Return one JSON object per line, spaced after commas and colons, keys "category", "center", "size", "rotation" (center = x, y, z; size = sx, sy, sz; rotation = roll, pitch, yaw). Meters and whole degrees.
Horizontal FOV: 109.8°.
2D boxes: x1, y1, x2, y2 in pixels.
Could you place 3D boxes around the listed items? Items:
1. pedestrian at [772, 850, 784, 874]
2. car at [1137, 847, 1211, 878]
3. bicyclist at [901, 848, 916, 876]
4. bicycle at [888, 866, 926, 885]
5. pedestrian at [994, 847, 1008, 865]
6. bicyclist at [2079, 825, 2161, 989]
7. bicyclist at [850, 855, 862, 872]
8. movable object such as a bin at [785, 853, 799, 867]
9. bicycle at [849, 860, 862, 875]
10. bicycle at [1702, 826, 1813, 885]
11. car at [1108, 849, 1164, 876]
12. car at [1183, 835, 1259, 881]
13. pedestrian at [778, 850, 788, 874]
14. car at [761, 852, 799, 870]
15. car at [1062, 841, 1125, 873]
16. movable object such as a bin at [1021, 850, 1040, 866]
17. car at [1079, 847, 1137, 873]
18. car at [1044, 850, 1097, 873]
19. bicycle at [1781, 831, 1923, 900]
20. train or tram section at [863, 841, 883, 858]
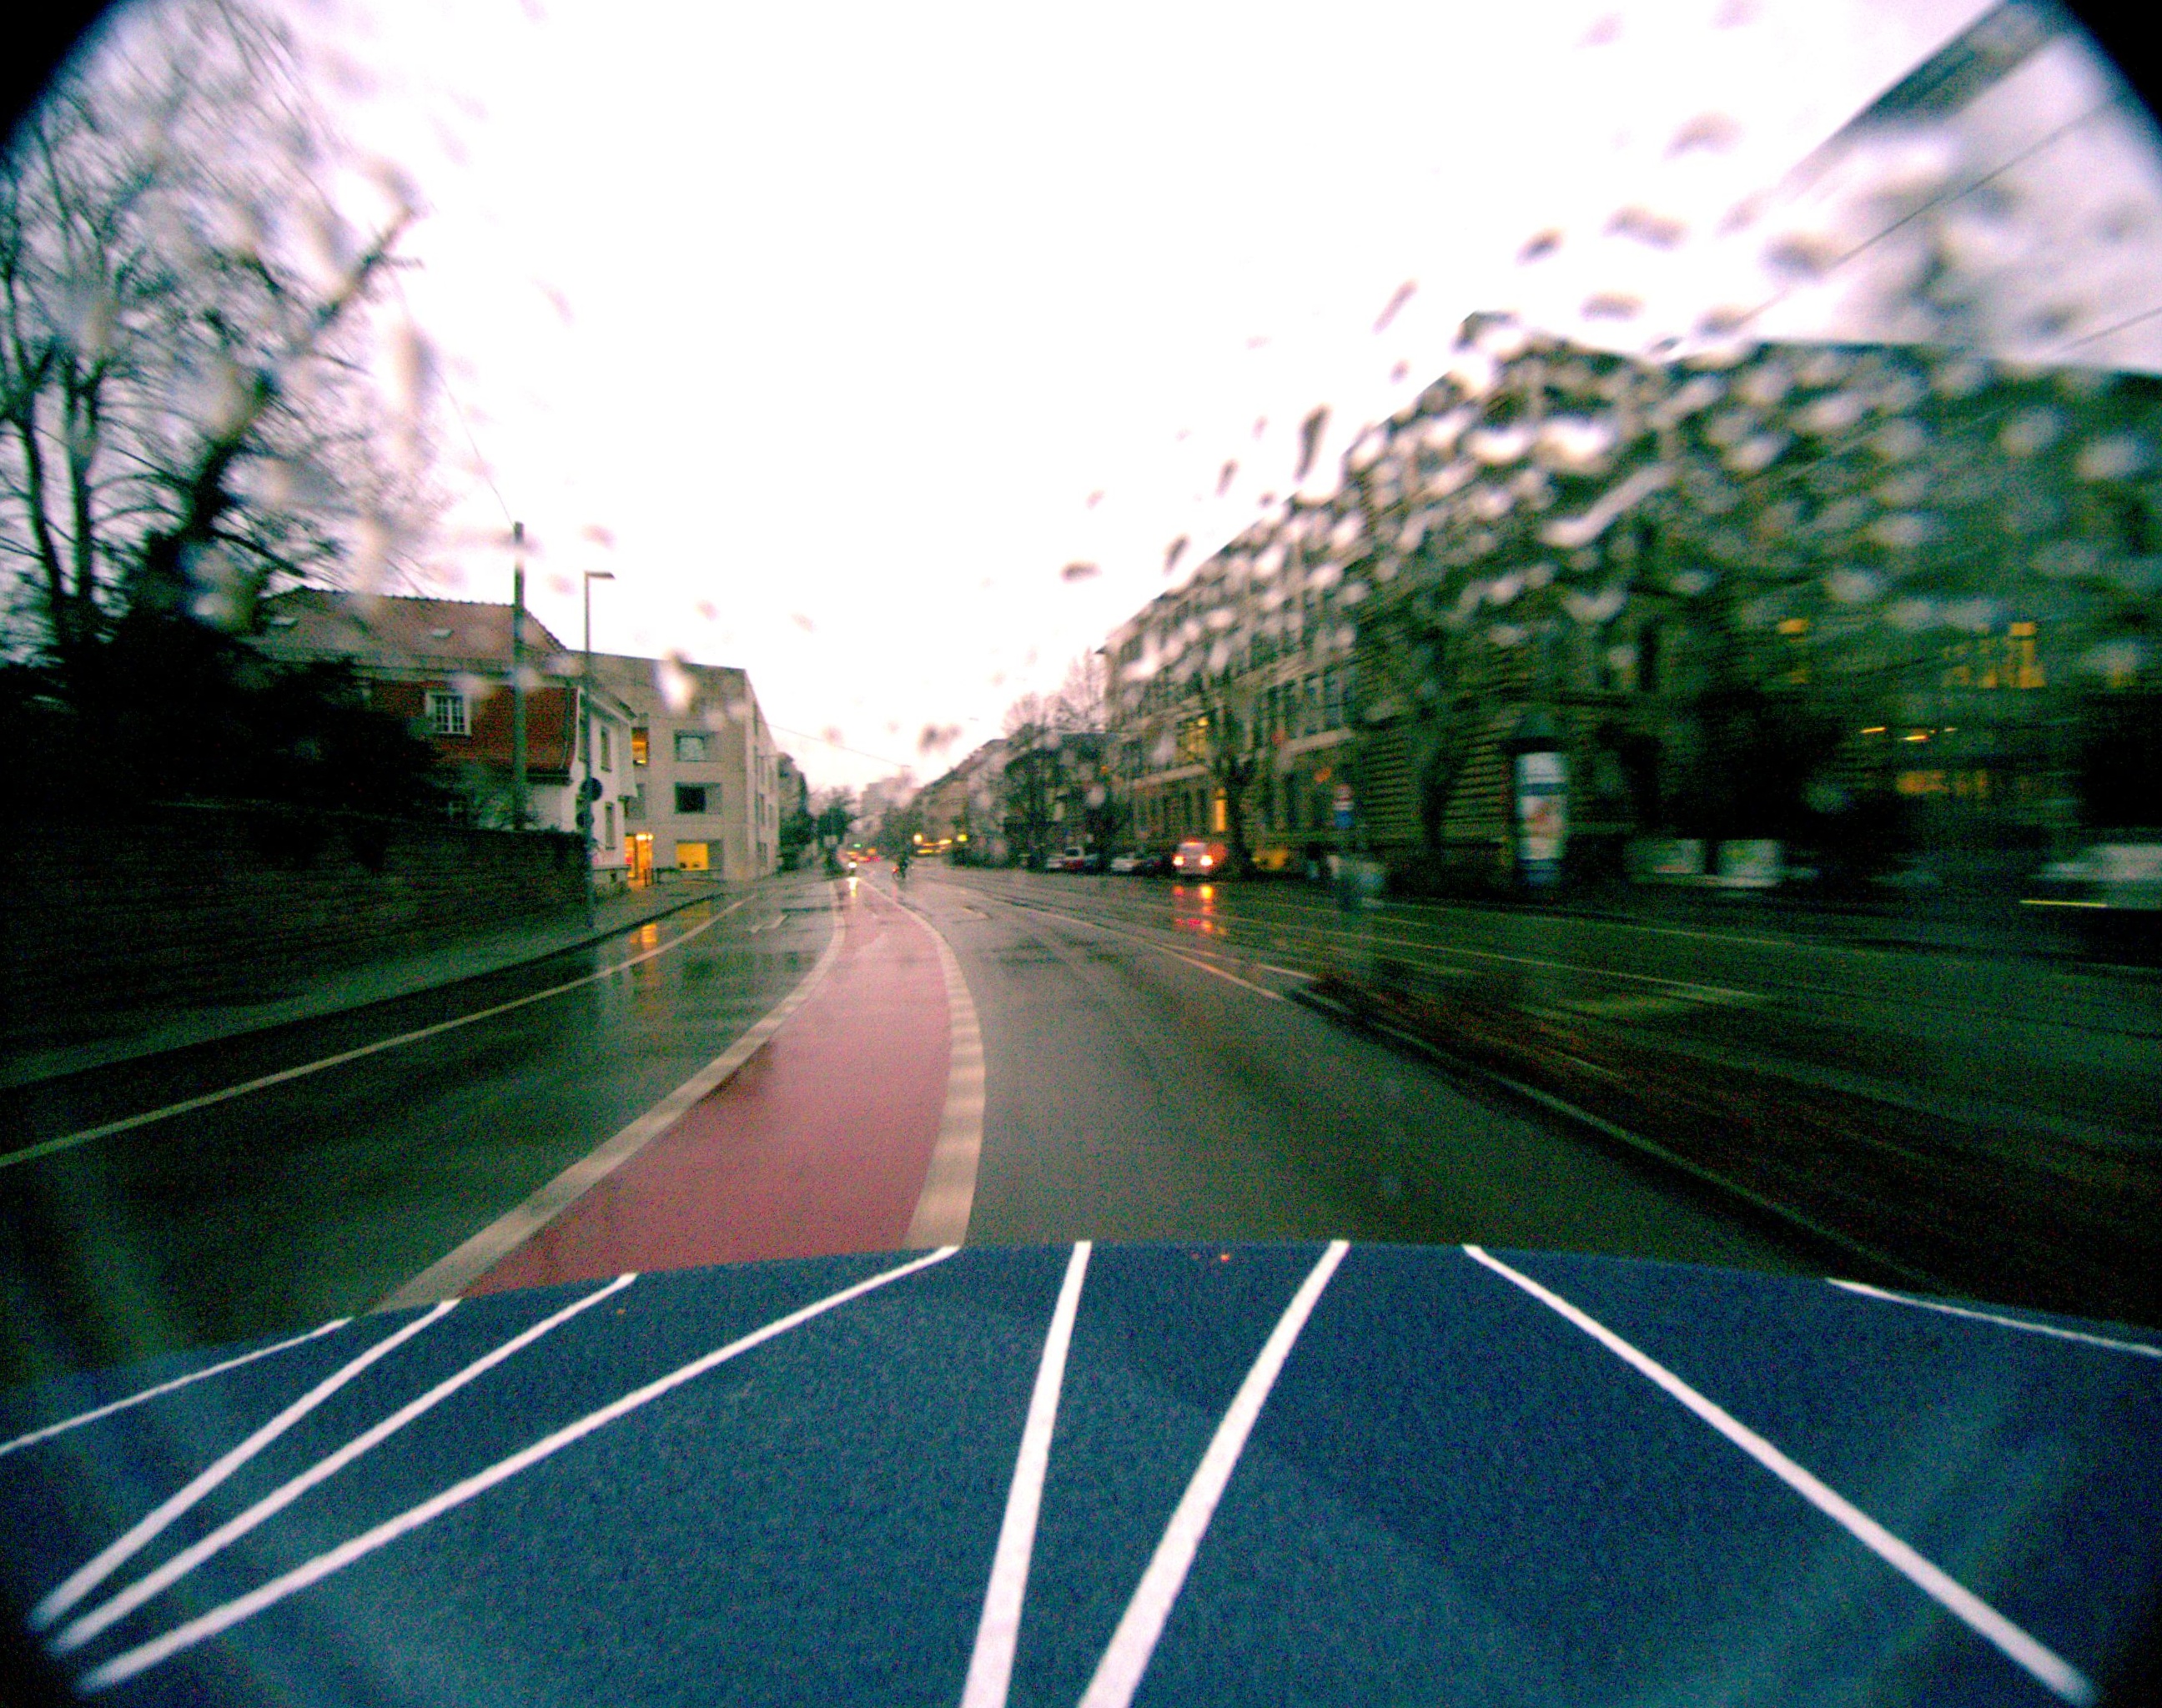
{"category": "pedestrian", "center": [-23.634, 0.634, 59.209], "size": [0.774, 1.848, 0.717], "rotation": [0, 1, -16]}
{"category": "car", "center": [5.414, 0.459, 43.840], "size": [4.485, 1.449, 1.795], "rotation": [-5, 2, -44]}
{"category": "bicyclist", "center": [-10.281, 0.469, 45.200], "size": [0.857, 1.586, 0.779], "rotation": [-1, 1, -14]}
{"category": "bicycle", "center": [-10.392, 1.262, 45.270], "size": [2.123, 0.939, 0.943], "rotation": [-4, 2, -14]}
{"category": "pedestrian", "center": [-8.037, 0.183, 75.981], "size": [0.925, 1.693, 0.945], "rotation": [-5, 3, -41]}
{"category": "bicyclist", "center": [11.832, 0.579, 8.497], "size": [0.610, 1.758, 0.590], "rotation": [-2, 2, 26]}
{"category": "bicyclist", "center": [-17.890, 0.764, 60.433], "size": [0.717, 1.335, 0.718], "rotation": [-3, 2, -11]}
{"category": "movable object such as a bin", "center": [-30.077, 0.651, 79.160], "size": [1.261, 1.437, 1.416], "rotation": [-1, 1, -18]}
{"category": "bicycle", "center": [-17.840, 1.061, 60.274], "size": [0.724, 1.084, 2.283], "rotation": [-3, 0, -11]}
{"category": "bicycle", "center": [20.639, 0.063, 23.244], "size": [2.423, 1.679, 0.714], "rotation": [-2, 2, 33]}
{"category": "car", "center": [3.589, 0.547, 48.641], "size": [1.633, 1.449, 3.833], "rotation": [-2, 2, 38]}
{"category": "car", "center": [7.158, 0.176, 38.408], "size": [1.907, 2.022, 4.812], "rotation": [-2, 2, 35]}
{"category": "pedestrian", "center": [-23.234, 0.606, 59.301], "size": [0.658, 1.849, 0.658], "rotation": [0, 1, -17]}
{"category": "car", "center": [-31.194, 0.677, 78.931], "size": [3.463, 1.638, 1.729], "rotation": [-4, 2, -18]}
{"category": "car", "center": [0.963, 0.196, 56.430], "size": [1.960, 2.042, 4.630], "rotation": [-1, 2, 45]}
{"category": "movable object such as a bin", "center": [-4.847, 0.418, 72.892], "size": [1.340, 1.456, 0.988], "rotation": [-2, 2, 34]}
{"category": "car", "center": [1.932, 0.426, 53.591], "size": [1.819, 1.531, 3.983], "rotation": [-1, 2, 44]}
{"category": "car", "center": [-0.824, 0.575, 62.018], "size": [1.770, 1.582, 4.192], "rotation": [-1, 2, 43]}
{"category": "bicycle", "center": [19.632, 0.311, 19.430], "size": [2.423, 1.679, 0.714], "rotation": [-2, 2, 33]}
{"category": "train or tram section", "center": [-49.400, -1.132, 180.203], "size": [2.889, 3.715, 27.287], "rotation": [-4, 2, -18]}
